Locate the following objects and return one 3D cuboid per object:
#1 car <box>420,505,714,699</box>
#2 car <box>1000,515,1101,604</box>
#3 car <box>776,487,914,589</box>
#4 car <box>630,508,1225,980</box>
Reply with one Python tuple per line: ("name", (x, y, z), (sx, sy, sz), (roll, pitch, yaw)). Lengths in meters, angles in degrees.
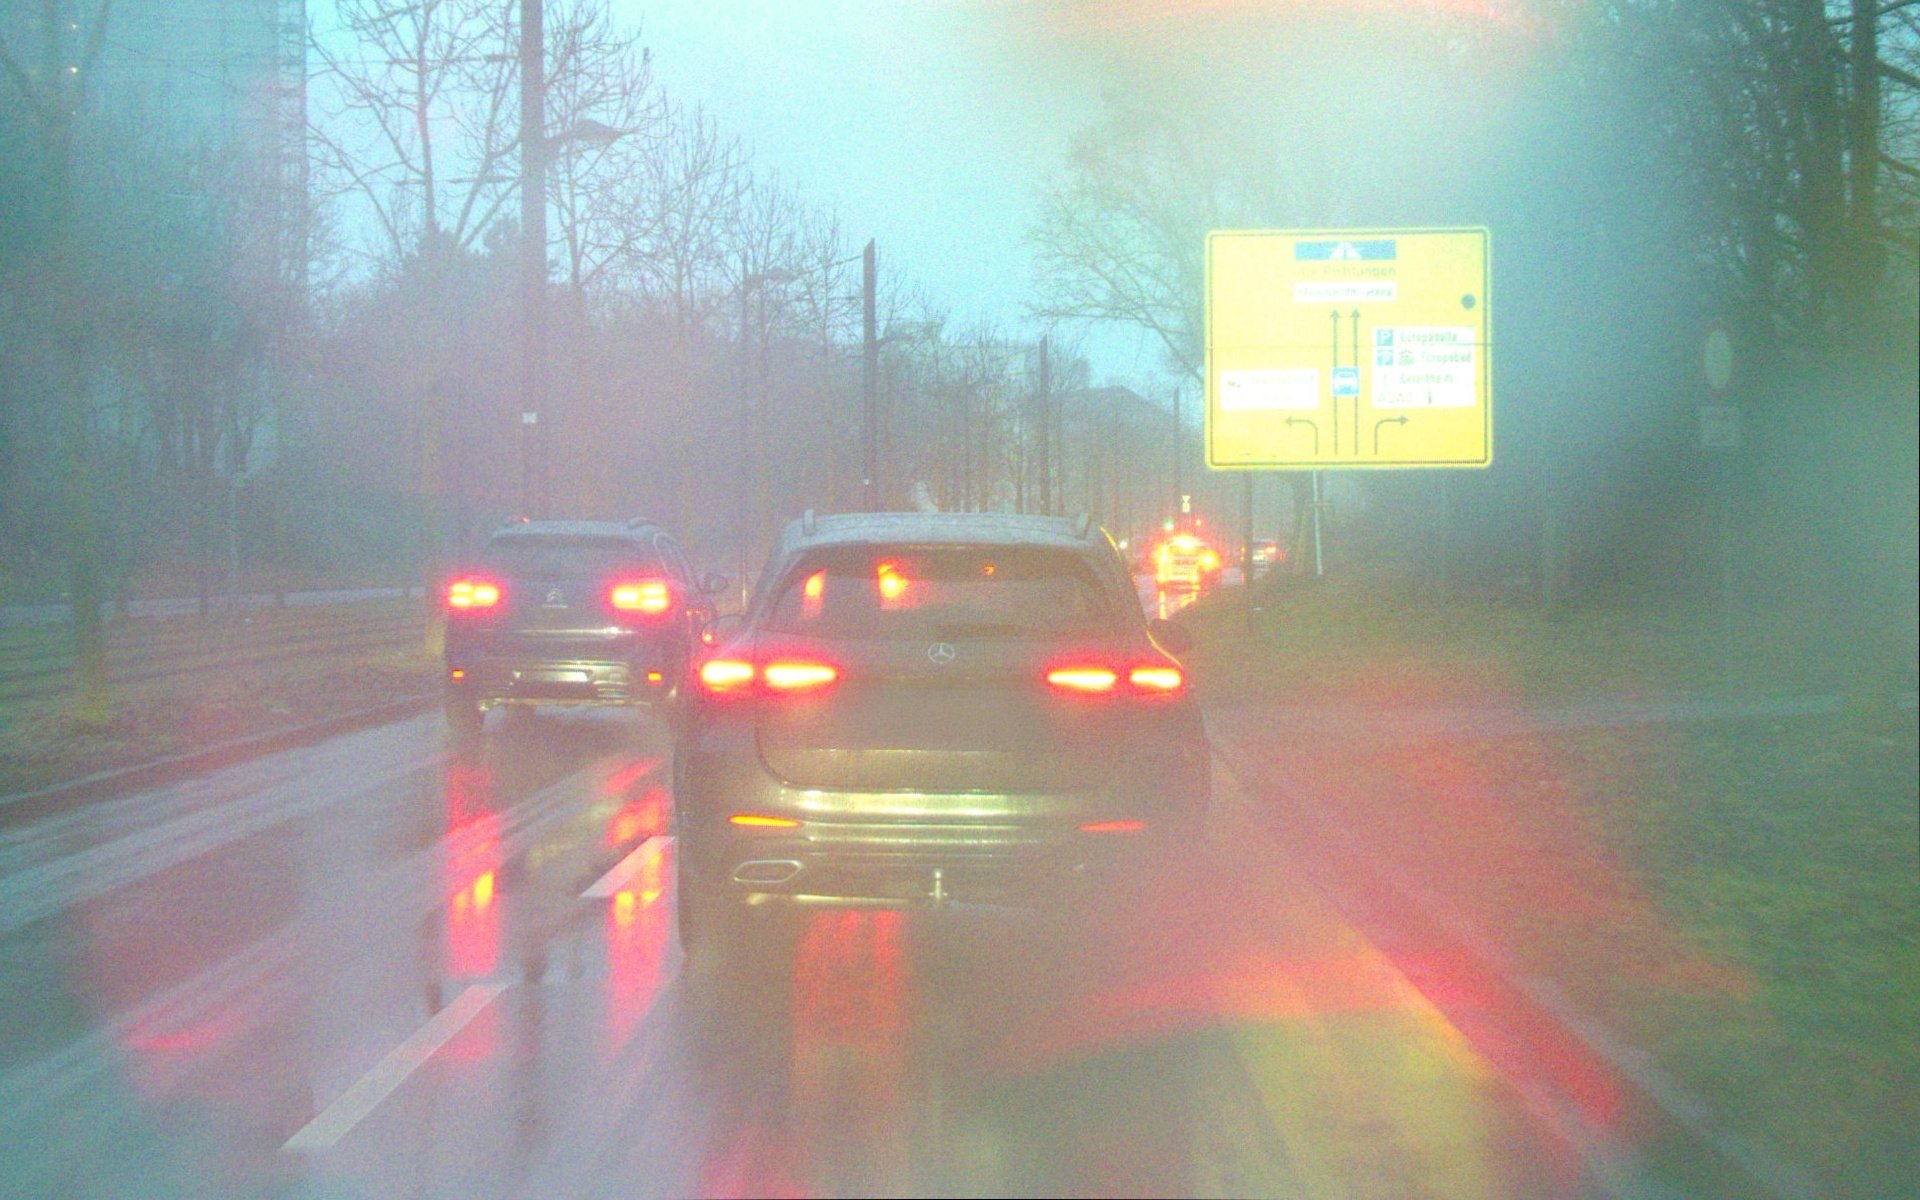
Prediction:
("car", (-3.110, -0.038, 27.922), (1.880, 1.454, 4.000), (0, 2, 1))
("car", (1.660, -0.746, 62.119), (1.709, 1.552, 3.996), (0, 1, 3))
("car", (-1.812, -1.018, 55.431), (1.880, 1.588, 4.000), (0, 2, 3))
("car", (-0.156, 0.438, 13.644), (1.998, 1.578, 4.001), (1, 2, -1))
